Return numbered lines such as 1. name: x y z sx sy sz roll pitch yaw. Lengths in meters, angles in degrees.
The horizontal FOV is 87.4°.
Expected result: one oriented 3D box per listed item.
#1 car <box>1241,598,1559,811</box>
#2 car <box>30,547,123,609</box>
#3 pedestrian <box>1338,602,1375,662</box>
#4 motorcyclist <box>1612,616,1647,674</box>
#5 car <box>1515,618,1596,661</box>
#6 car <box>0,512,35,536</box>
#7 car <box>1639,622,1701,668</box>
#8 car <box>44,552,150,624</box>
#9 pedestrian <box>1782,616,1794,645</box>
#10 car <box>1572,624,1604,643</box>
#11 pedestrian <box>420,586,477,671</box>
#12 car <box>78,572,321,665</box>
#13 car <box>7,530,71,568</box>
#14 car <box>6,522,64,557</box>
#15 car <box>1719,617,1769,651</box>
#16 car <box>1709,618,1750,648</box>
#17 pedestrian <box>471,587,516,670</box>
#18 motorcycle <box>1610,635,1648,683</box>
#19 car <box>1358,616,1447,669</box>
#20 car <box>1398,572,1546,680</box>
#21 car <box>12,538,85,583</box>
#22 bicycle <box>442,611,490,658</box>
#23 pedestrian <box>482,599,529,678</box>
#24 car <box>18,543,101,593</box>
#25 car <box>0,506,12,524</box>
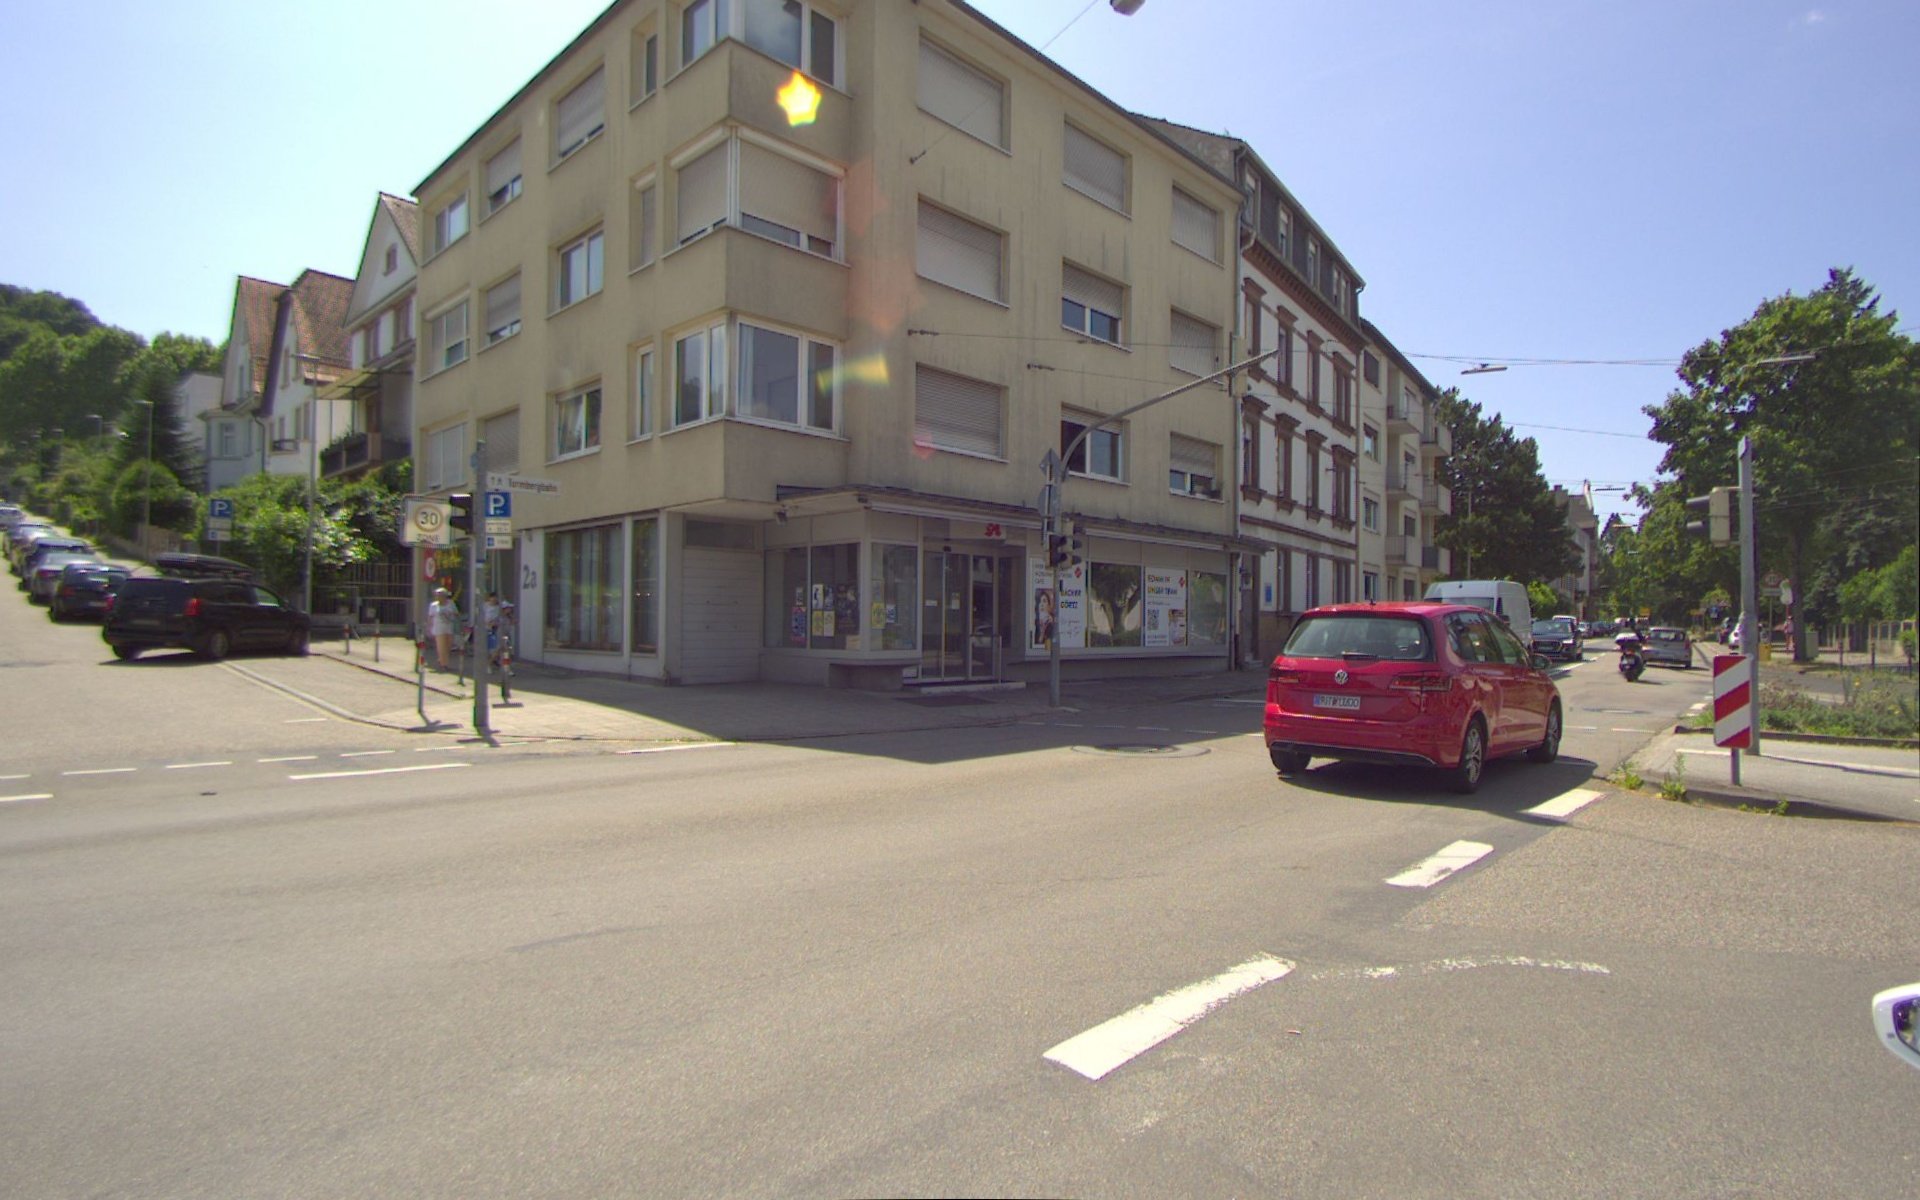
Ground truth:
1. car: 4.406 0.829 9.705 1.777 1.578 4.019 1 0 39
2. car: -26.741 -0.683 30.345 3.945 1.571 1.798 6 3 44
3. pedestrian: 13.399 1.070 33.946 0.922 1.957 0.974 1 -1 35
4. motorcyclist: 17.441 1.163 26.150 0.702 1.465 1.015 1 0 37
5. car: 23.103 1.529 38.918 1.832 1.578 4.262 -3 -3 43
6. car: -63.416 -5.097 67.359 3.945 1.439 1.848 6 3 44
7. car: 26.614 1.647 37.610 1.776 1.578 4.023 1 -1 36
8. car: -23.092 -0.341 26.836 3.945 1.637 1.798 6 3 44
9. pedestrian: 49.804 1.829 60.403 0.502 1.678 0.463 1 0 40
10. car: 55.886 2.984 89.402 1.777 1.578 4.018 4 2 40
11. pedestrian: -10.312 0.569 20.239 0.816 1.654 0.794 1 -1 -42
12. car: -15.398 0.372 20.704 1.962 1.686 4.326 1 -1 -5
13. car: -40.763 -2.268 44.436 3.945 1.439 1.848 6 3 44
14. car: -44.815 -2.948 48.621 3.945 1.439 1.848 6 3 44
15. car: 45.117 1.896 57.882 1.967 1.831 3.988 1 0 34
16. car: 52.760 2.203 68.931 1.967 1.932 3.988 1 0 34
17. pedestrian: -9.542 0.571 20.564 0.644 1.654 0.679 1 -1 -42
18. motorcycle: 17.447 1.502 26.165 0.702 1.149 2.189 1 0 37
19. car: 14.258 1.348 32.233 1.966 1.539 3.989 2 -1 33
20. car: 14.135 0.750 27.393 2.189 2.533 7.524 -4 -4 37
21. car: -34.470 -1.522 37.963 3.945 1.439 1.798 6 3 44
22. bicycle: -11.557 0.793 23.459 0.495 1.040 1.720 1 0 -44
23. pedestrian: -8.813 0.728 19.467 0.644 1.495 0.679 1 -1 -42
24. car: -30.328 -1.089 33.805 3.945 1.406 1.798 6 3 44
25. car: -84.340 -7.519 87.876 3.945 1.439 1.848 6 3 44
